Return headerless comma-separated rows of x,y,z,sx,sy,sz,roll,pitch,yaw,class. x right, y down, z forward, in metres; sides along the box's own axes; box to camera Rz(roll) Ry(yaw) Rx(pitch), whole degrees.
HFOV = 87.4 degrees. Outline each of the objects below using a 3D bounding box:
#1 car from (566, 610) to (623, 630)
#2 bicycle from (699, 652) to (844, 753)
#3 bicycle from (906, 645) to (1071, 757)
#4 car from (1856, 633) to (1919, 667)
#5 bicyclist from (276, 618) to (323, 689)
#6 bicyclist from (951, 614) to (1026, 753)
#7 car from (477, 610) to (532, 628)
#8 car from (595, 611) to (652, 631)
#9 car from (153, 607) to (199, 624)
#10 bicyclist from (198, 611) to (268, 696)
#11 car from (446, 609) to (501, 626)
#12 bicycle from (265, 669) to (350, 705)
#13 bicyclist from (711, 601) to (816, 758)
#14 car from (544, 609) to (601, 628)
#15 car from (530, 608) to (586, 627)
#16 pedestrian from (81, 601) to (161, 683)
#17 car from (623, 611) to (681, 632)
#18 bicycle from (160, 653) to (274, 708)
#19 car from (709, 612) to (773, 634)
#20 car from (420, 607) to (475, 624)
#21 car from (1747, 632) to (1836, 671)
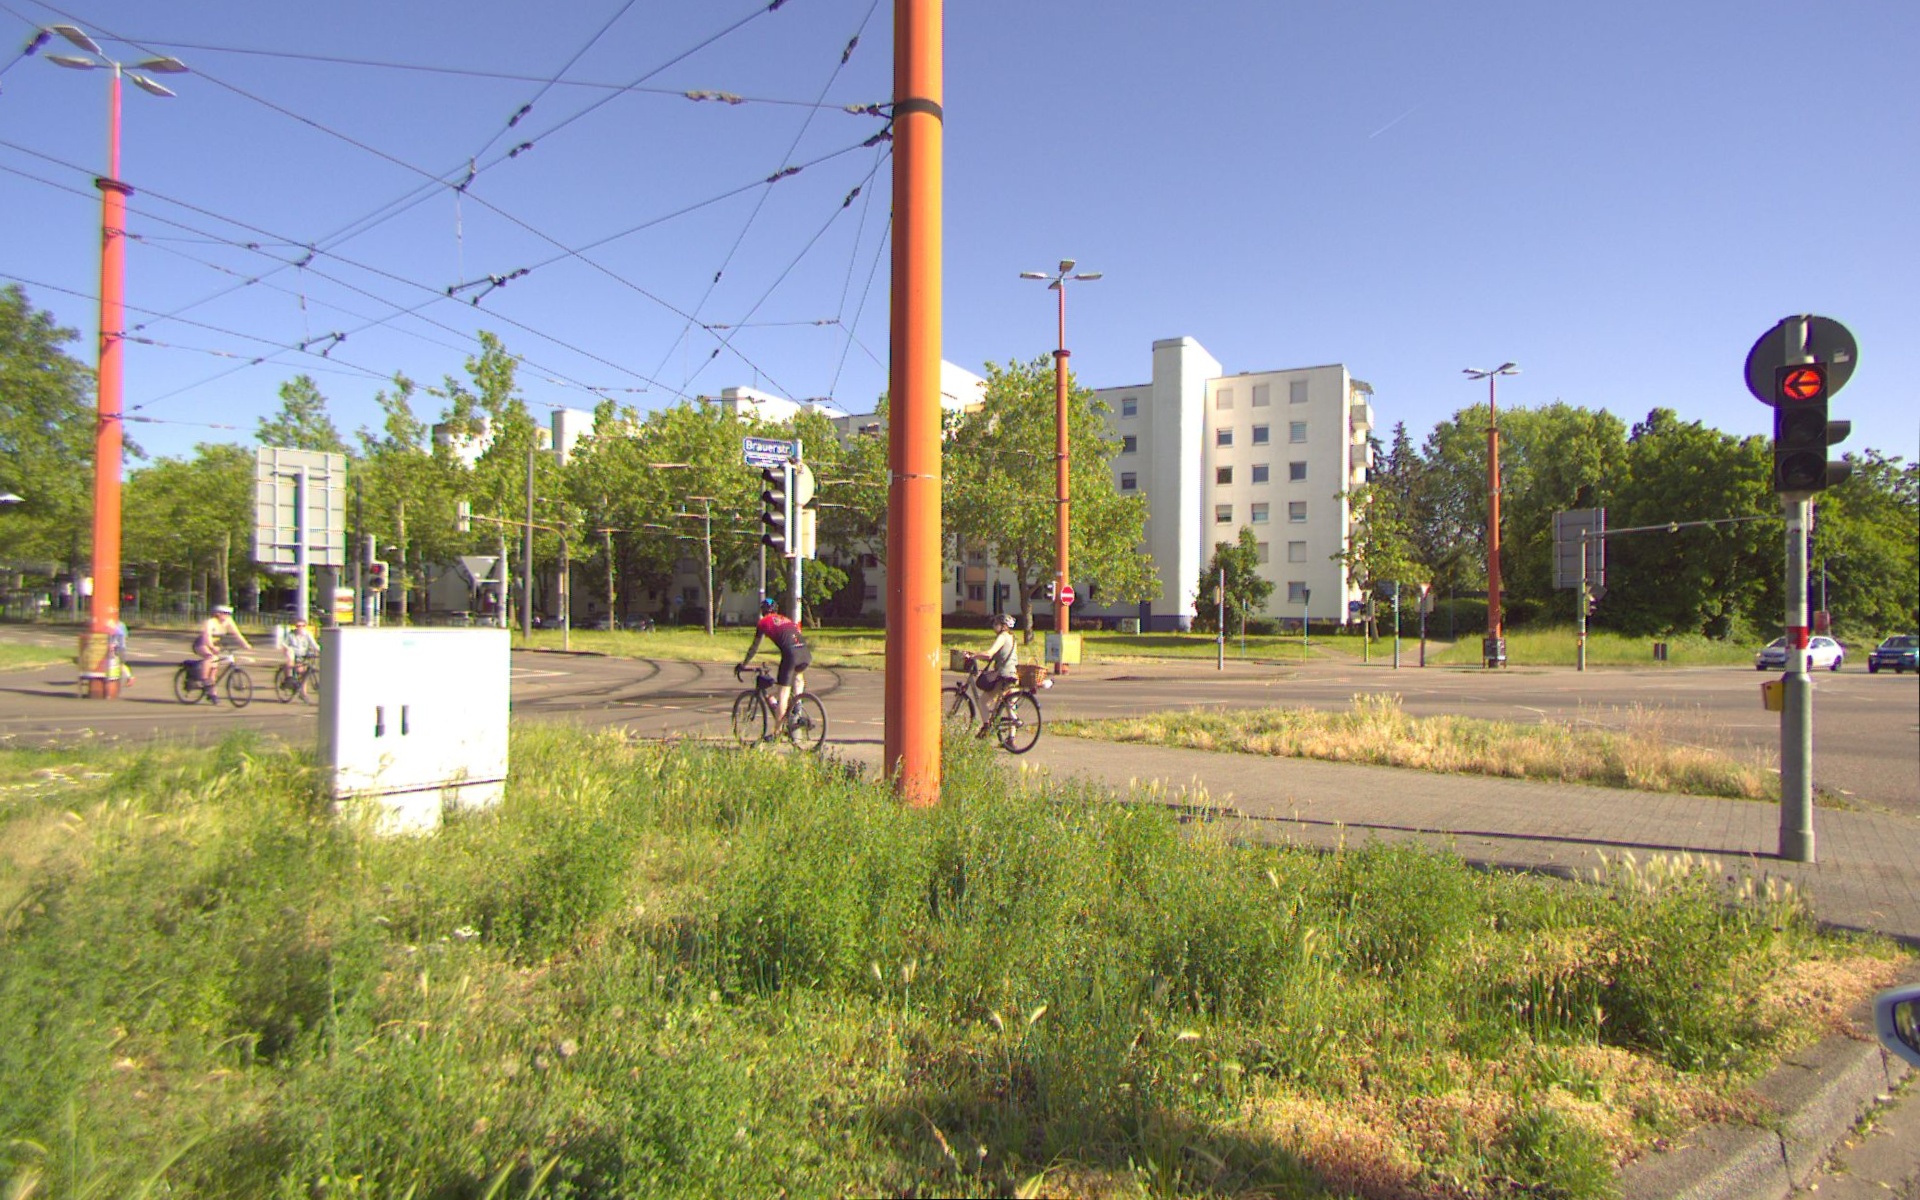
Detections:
-27.580,1.490,75.916,3.934,1.428,1.794,1,-1,-16,car
-2.285,1.187,12.062,1.804,1.071,0.719,0,-1,40,bicycle
0.326,1.178,12.161,1.915,1.210,0.690,0,-1,33,bicycle
37.156,1.962,39.621,3.571,1.260,1.730,1,-1,-31,car
-13.082,1.055,19.901,0.616,1.399,0.443,1,-1,-1,bicyclist
0.349,0.984,12.147,0.651,1.605,0.671,0,-1,33,bicyclist
-38.035,1.572,83.879,3.935,1.428,1.794,1,-1,-17,car
-24.999,1.560,74.692,3.934,1.428,1.794,1,-1,-16,car
-93.994,1.889,120.446,1.969,2.040,3.984,0,-1,38,car
-13.700,1.001,18.950,0.752,1.565,0.732,1,-1,-1,bicyclist
-41.438,1.490,85.620,3.935,1.428,1.794,1,-1,-17,car
-12.906,1.714,19.878,1.393,0.668,0.435,1,-1,1,bicycle
-2.325,0.908,11.885,0.981,1.764,0.734,0,-1,37,bicyclist
-30.079,1.422,78.070,3.934,1.428,1.794,1,-1,-16,car
-31.941,1.373,79.967,3.935,1.428,1.794,1,-1,-17,car
-19.204,0.952,23.010,0.968,1.817,0.955,1,-1,5,pedestrian
-22.258,1.551,72.641,3.934,1.428,1.794,1,-1,-16,car
-13.980,1.505,18.938,1.612,0.974,0.685,1,-1,-1,bicycle
-14.544,1.554,66.839,1.770,1.428,3.987,0,-1,35,car
-44.793,1.392,87.889,3.935,1.428,1.794,1,-1,-17,car
35.209,2.141,42.515,3.891,1.552,1.752,1,-1,-31,car
